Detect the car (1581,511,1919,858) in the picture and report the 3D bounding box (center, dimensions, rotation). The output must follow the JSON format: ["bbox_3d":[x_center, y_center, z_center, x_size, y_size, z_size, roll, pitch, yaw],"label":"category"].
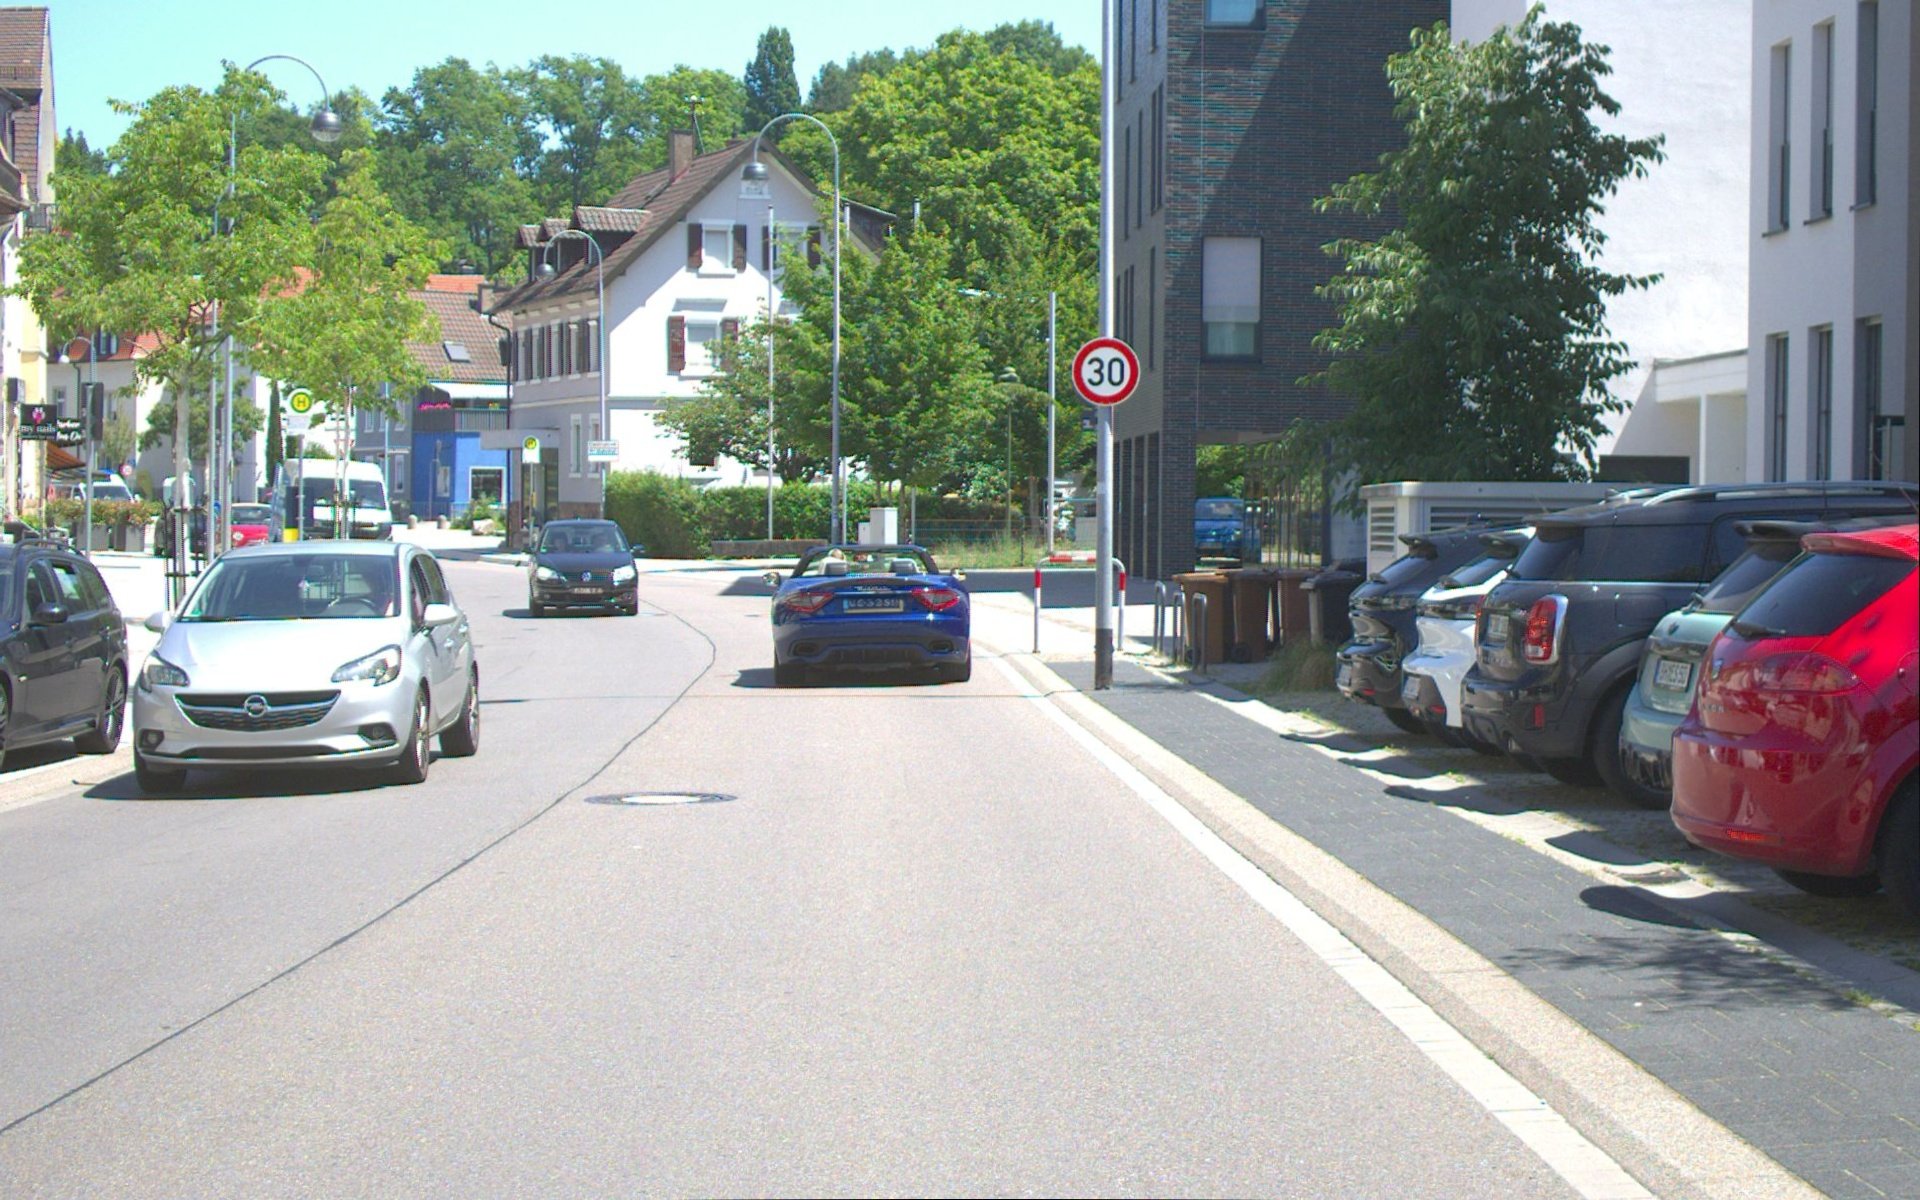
[{"bbox_3d":[4.907,0.345,15.132,3.980,1.427,1.763,0,1,-2],"label":"car"}]

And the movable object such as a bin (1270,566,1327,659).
[{"bbox_3d":[3.459,0.128,35.192,0.495,0.926,0.623,-2,1,0],"label":"movable object such as a bin"}]

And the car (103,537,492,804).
[{"bbox_3d":[-4.049,0.367,21.615,1.687,1.453,4.059,-1,1,-1],"label":"car"}]

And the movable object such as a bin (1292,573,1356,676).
[{"bbox_3d":[3.366,0.225,31.821,0.495,0.926,0.623,-2,1,0],"label":"movable object such as a bin"}]

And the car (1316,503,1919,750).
[{"bbox_3d":[4.424,0.154,22.382,3.980,1.524,1.741,0,1,-2],"label":"car"}]

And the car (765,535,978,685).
[{"bbox_3d":[-0.810,0.050,34.188,1.871,1.337,4.596,-1,1,1],"label":"car"}]

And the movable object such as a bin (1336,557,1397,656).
[{"bbox_3d":[3.879,0.056,32.855,0.495,0.926,0.623,-1,1,0],"label":"movable object such as a bin"}]

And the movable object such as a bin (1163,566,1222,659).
[{"bbox_3d":[2.378,0.122,35.199,0.537,0.926,0.623,-2,1,0],"label":"movable object such as a bin"}]

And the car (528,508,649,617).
[{"bbox_3d":[-5.823,-0.602,53.565,1.660,1.601,4.001,-2,1,-9],"label":"car"}]

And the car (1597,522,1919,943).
[{"bbox_3d":[4.502,0.407,12.499,3.970,1.404,1.857,-1,1,-2],"label":"car"}]

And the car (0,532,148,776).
[{"bbox_3d":[-6.575,0.299,22.101,1.670,1.438,4.010,0,1,1],"label":"car"}]

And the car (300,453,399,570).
[{"bbox_3d":[-12.967,-1.866,72.889,1.866,2.392,4.820,0,1,-12],"label":"car"}]

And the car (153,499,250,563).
[{"bbox_3d":[-20.592,-1.885,93.252,1.993,1.686,4.001,1,1,-21],"label":"car"}]

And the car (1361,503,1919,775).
[{"bbox_3d":[4.511,0.210,20.381,3.980,1.524,1.943,0,1,-2],"label":"car"}]

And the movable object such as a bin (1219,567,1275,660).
[{"bbox_3d":[2.936,0.136,35.182,0.495,0.926,0.623,-2,1,0],"label":"movable object such as a bin"}]

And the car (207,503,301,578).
[{"bbox_3d":[-16.749,-1.406,81.445,1.993,1.732,4.001,0,1,-14],"label":"car"}]

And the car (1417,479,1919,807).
[{"bbox_3d":[4.526,0.203,17.896,3.980,1.599,1.943,0,1,-2],"label":"car"}]
